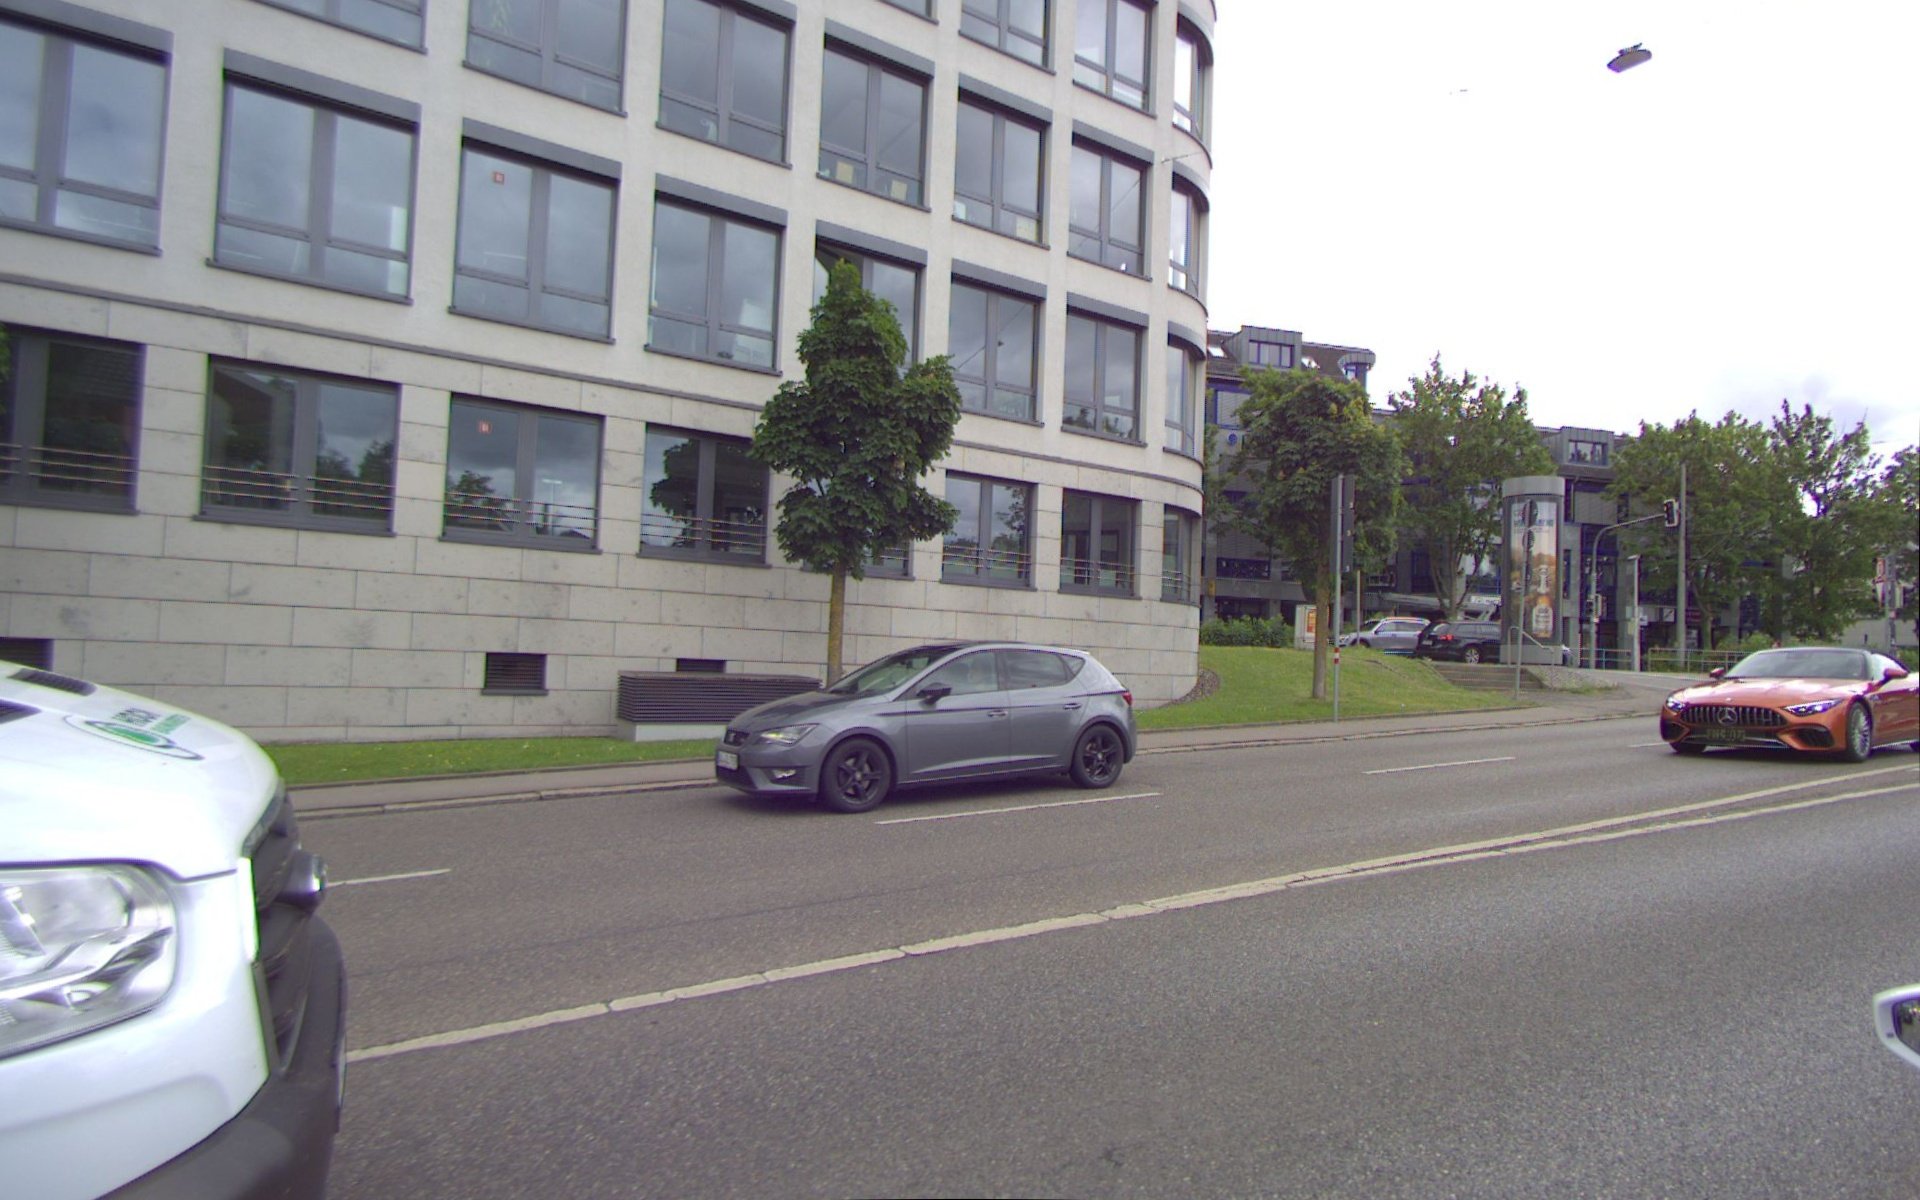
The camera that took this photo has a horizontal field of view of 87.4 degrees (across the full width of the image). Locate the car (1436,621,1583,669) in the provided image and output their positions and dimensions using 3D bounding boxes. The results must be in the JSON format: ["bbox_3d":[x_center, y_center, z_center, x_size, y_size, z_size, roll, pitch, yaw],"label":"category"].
[{"bbox_3d":[19.654,1.612,36.029,4.357,1.482,1.780,2,0,-6],"label":"car"}]

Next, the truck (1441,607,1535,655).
[{"bbox_3d":[27.627,1.597,52.642,3.924,2.419,1.998,1,0,-6],"label":"truck"}]

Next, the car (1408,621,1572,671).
[{"bbox_3d":[16.866,1.455,32.067,4.357,1.482,1.780,1,0,-6],"label":"car"}]

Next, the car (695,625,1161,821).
[{"bbox_3d":[-0.238,1.049,9.632,4.159,1.514,1.739,1,-4,-31],"label":"car"}]

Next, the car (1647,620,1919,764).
[{"bbox_3d":[10.973,1.112,12.995,4.235,1.591,1.763,1,-4,-31],"label":"car"}]

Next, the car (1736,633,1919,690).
[{"bbox_3d":[26.017,1.807,30.143,3.919,1.565,1.783,1,-1,13],"label":"car"}]

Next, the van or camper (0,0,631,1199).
[{"bbox_3d":[-3.546,0.087,0.629,5.904,2.697,2.328,3,-1,-34],"label":"van or camper"}]

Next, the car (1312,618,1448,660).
[{"bbox_3d":[15.964,1.462,38.268,4.482,1.482,1.677,1,0,-1],"label":"car"}]
